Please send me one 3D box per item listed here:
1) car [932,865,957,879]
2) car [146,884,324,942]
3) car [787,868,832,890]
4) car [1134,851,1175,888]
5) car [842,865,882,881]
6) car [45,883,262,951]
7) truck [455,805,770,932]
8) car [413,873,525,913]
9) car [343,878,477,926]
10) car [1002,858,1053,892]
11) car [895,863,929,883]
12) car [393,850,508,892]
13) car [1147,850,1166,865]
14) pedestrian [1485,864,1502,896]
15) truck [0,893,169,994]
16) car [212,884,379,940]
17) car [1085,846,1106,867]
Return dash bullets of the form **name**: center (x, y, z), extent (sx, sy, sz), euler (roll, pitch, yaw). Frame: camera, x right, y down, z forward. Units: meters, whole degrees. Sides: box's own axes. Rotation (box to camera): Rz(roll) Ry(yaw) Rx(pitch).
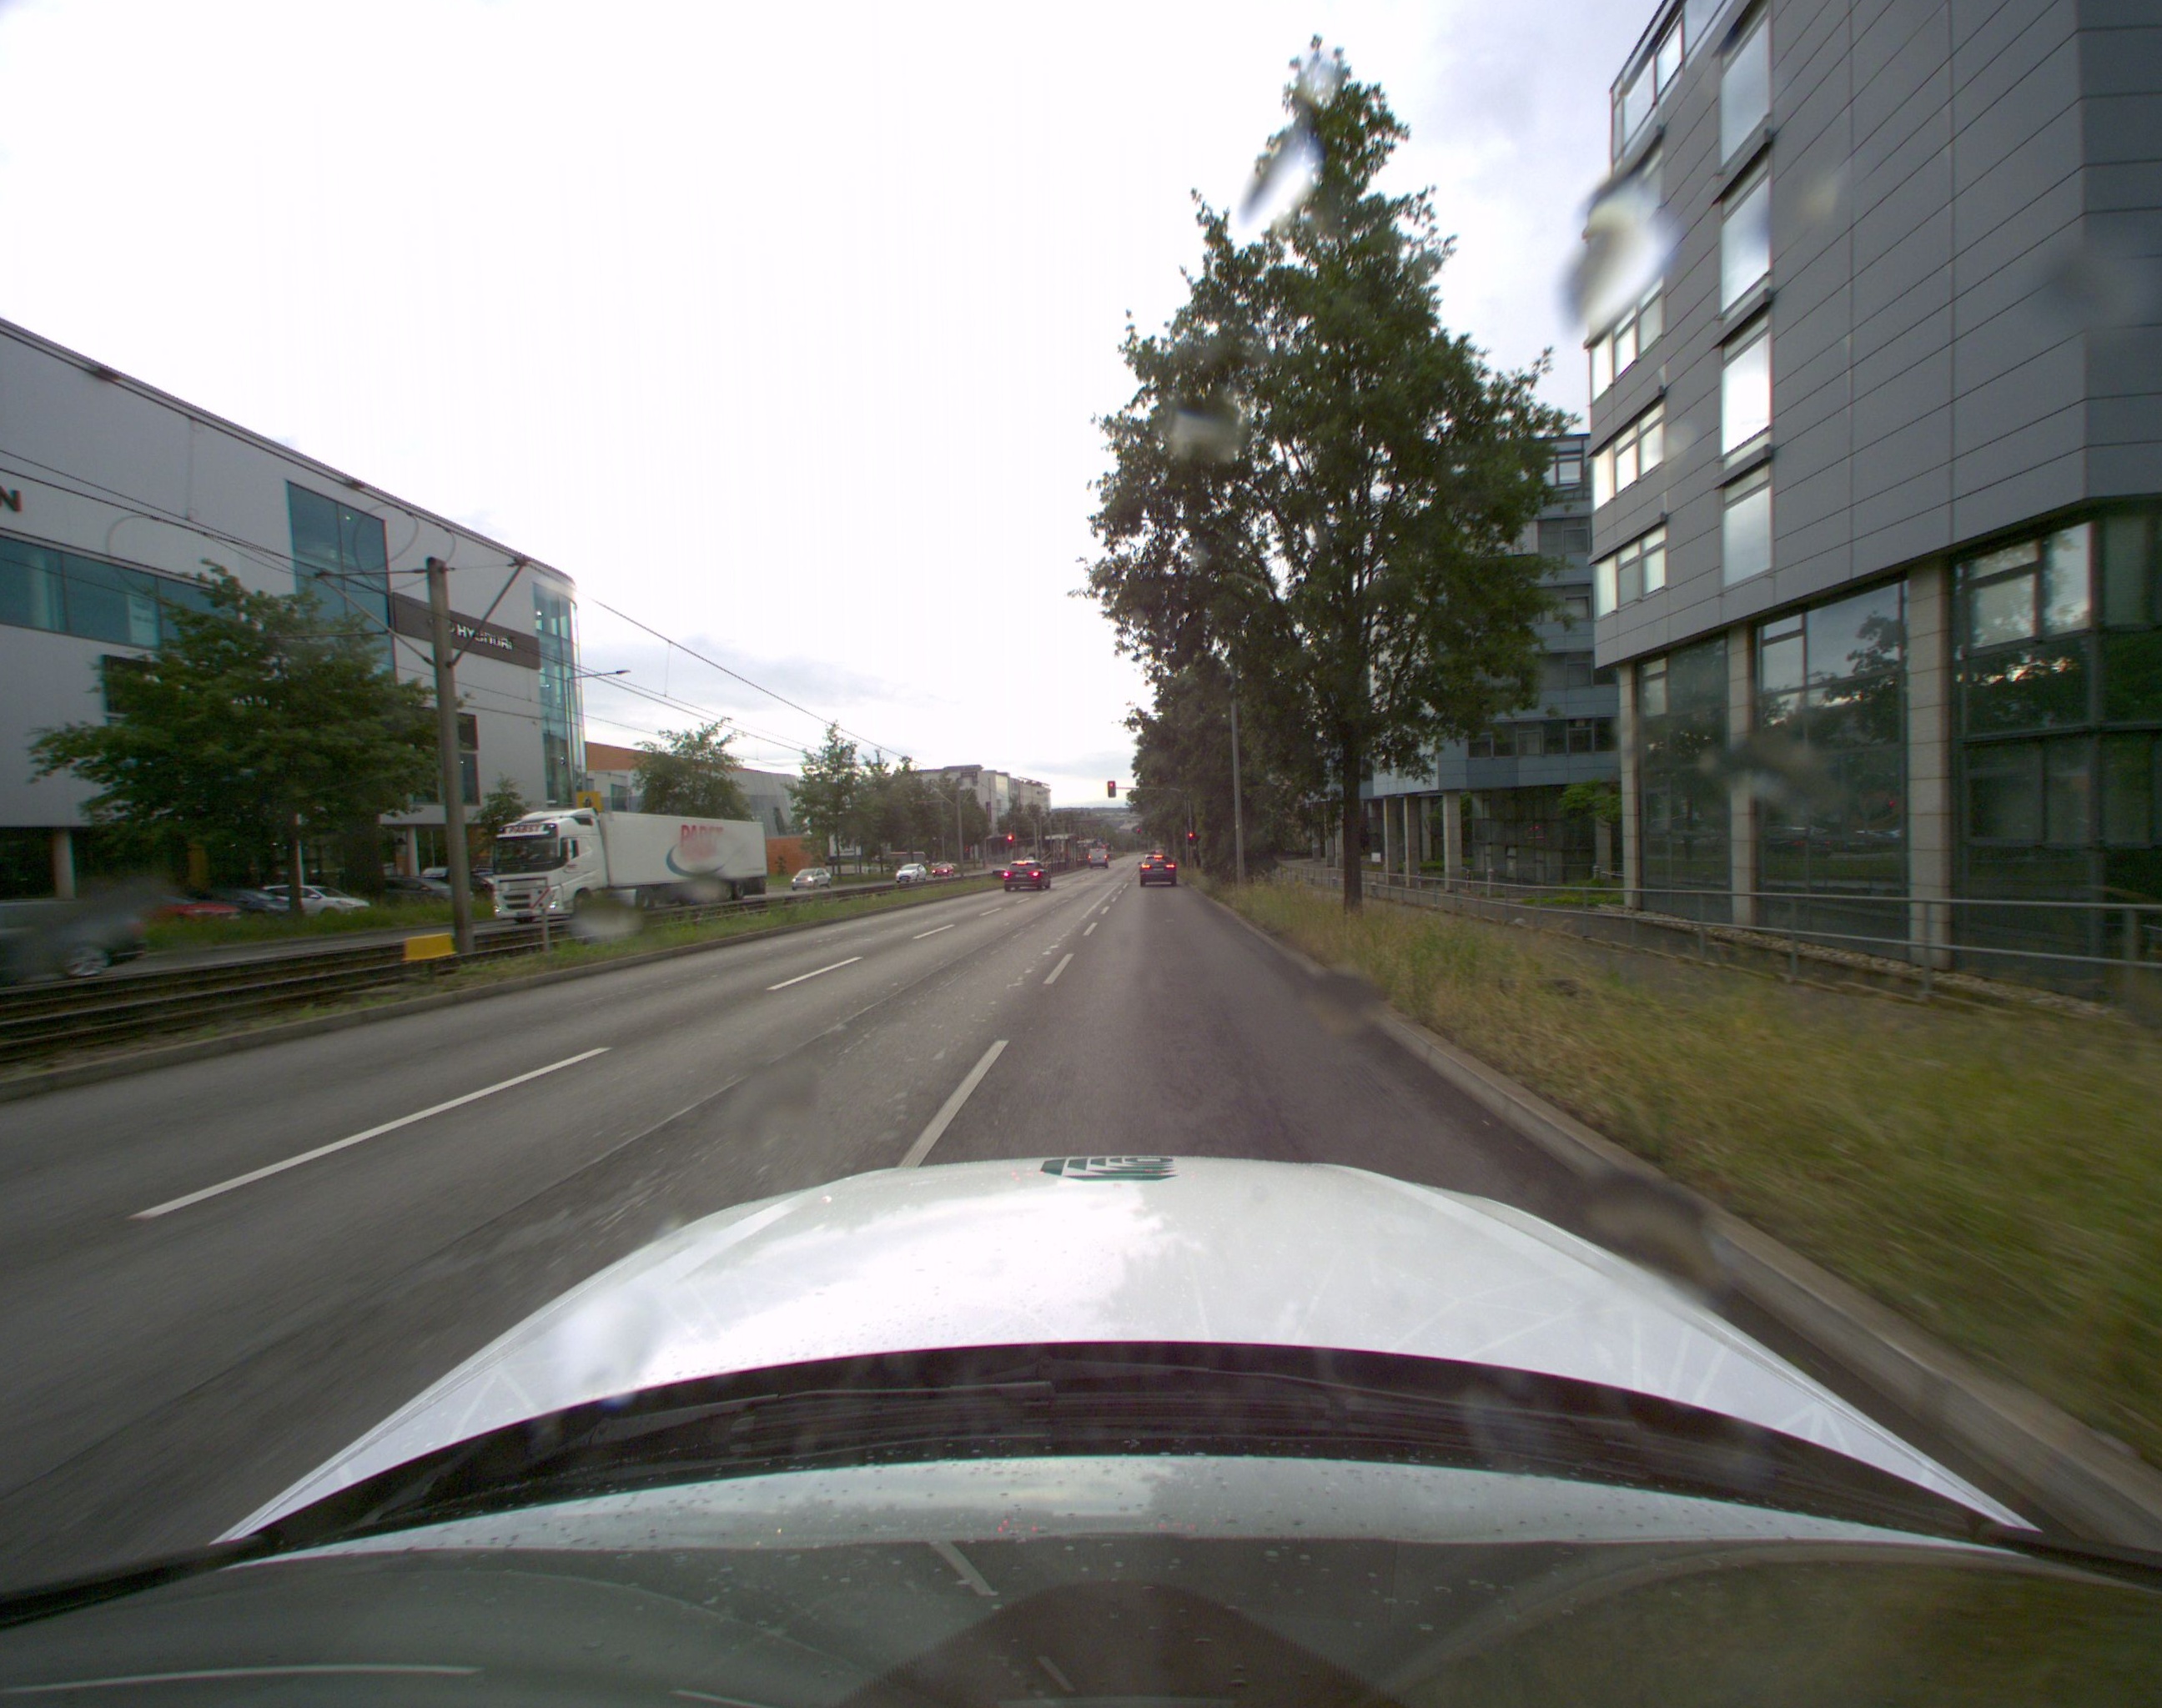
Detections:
- **car**: center (-14.667, 1.942, 87.386), extent (1.654, 1.442, 3.902), euler (-1, 0, 5)
- **car**: center (-32.371, 2.233, 31.304), extent (4.346, 1.864, 1.876), euler (-2, 0, -12)
- **car**: center (-20.136, 1.844, 60.514), extent (1.654, 1.544, 3.902), euler (-1, 0, 5)
- **car**: center (3.763, 0.739, 42.240), extent (1.914, 1.710, 4.102), euler (-1, 1, 3)
- **car**: center (-26.980, 2.317, 100.577), extent (4.307, 1.809, 2.099), euler (-1, 1, 1)
- **car**: center (-32.460, 2.147, 28.693), extent (4.612, 1.976, 2.009), euler (-2, 0, -17)
- **truck**: center (-18.949, 0.361, 35.833), extent (3.029, 4.180, 17.217), euler (-1, 1, 3)
- **car**: center (-34.063, 2.142, 45.431), extent (4.591, 1.976, 2.018), euler (-2, 0, -3)
- **car**: center (-32.143, 2.273, 39.115), extent (4.591, 1.976, 2.018), euler (-2, 0, -3)
- **car**: center (-2.529, 0.962, 39.473), extent (1.778, 1.413, 4.812), euler (-1, 1, 4)
- **car**: center (-13.480, 1.502, 65.124), extent (1.655, 1.442, 3.900), euler (-1, 0, 4)
- **car**: center (-32.671, 0.866, 42.271), extent (4.337, 1.976, 1.873), euler (-2, 0, -3)
- **car**: center (9.603, 0.397, 103.452), extent (2.037, 1.742, 4.585), euler (-1, 1, 8)
- **pedestrian**: center (18.329, 1.164, 36.158), extent (0.501, 1.408, 0.458), euler (-1, -1, 4)
- **truck**: center (-18.713, 1.583, 13.410), extent (1.931, 1.568, 4.554), euler (-4, -1, 7)
- **car**: center (-32.433, 2.352, 33.751), extent (4.597, 1.976, 2.015), euler (-2, 0, -7)
- **car**: center (1.710, 0.273, 95.342), extent (2.261, 2.284, 4.758), euler (-1, 1, -1)
